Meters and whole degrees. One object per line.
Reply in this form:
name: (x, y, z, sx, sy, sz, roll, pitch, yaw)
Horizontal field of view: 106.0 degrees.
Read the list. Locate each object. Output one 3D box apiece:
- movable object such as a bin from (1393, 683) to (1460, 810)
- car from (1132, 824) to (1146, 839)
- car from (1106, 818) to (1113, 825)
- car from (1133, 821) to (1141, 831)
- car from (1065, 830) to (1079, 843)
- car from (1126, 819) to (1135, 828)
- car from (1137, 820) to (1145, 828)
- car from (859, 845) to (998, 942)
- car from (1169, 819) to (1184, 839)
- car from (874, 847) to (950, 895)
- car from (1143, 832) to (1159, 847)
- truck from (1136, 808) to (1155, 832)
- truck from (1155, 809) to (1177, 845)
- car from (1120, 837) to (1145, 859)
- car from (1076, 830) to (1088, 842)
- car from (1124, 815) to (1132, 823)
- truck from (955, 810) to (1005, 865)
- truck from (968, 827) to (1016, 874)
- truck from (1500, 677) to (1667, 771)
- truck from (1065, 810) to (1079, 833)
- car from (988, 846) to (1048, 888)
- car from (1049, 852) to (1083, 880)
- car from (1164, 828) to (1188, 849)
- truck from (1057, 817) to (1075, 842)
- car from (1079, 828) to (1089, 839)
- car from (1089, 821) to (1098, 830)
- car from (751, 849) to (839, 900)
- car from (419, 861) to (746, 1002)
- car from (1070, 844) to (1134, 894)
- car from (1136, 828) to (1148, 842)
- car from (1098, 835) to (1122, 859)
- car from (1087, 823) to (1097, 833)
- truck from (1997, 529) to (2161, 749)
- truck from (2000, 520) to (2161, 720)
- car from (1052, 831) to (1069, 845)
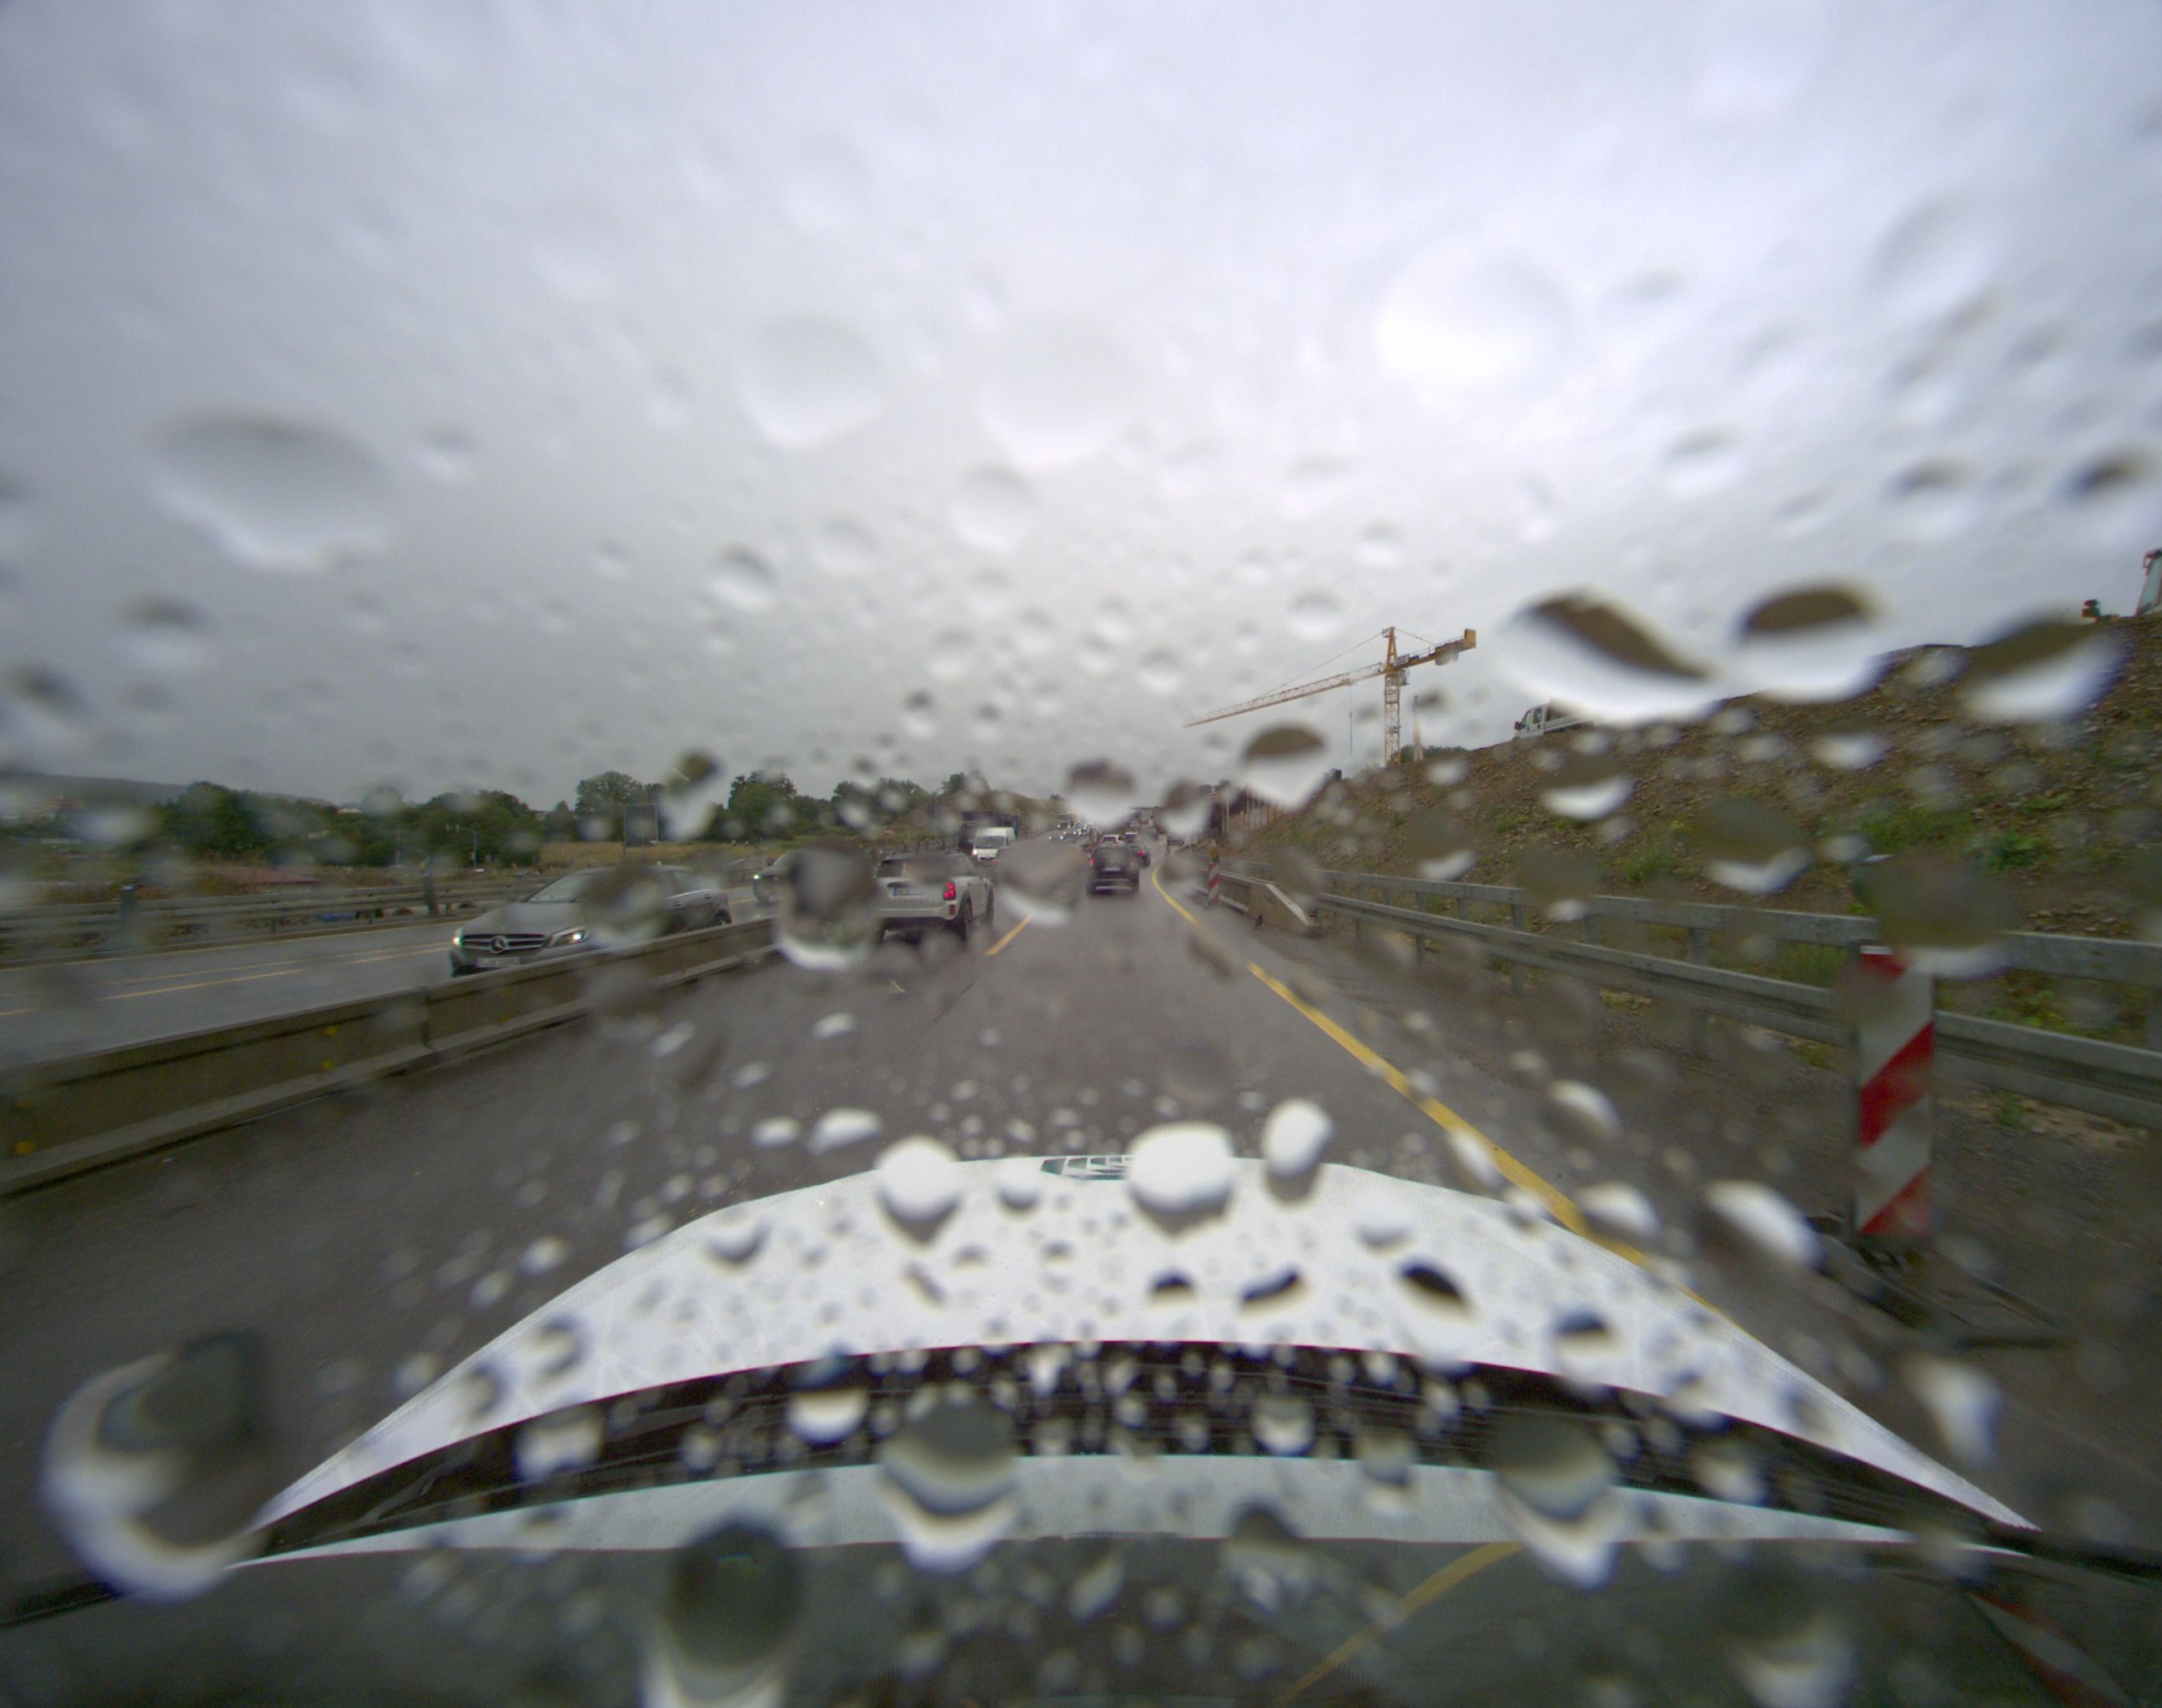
movable object such as a bin: (33.966, -10.233, 80.690, 4.682, 10.843, 10.346, -1, -1, 16)
car: (9.439, -3.623, 131.450, 1.983, 2.163, 4.148, -1, -1, 7)
car: (8.777, -9.871, 248.849, 1.986, 2.014, 4.000, -1, -1, 1)
car: (12.460, -6.181, 181.431, 1.842, 1.894, 4.023, -1, -1, 3)
car: (-1.321, -2.549, 119.194, 1.779, 1.810, 4.501, -1, -1, 2)
car: (12.007, -7.529, 199.356, 1.986, 2.013, 4.002, -2, 0, 1)
car: (17.459, -8.738, 236.012, 1.986, 2.014, 4.000, -1, -1, 1)
car: (-2.778, 0.682, 15.827, 1.810, 1.600, 4.308, -1, -1, 1)
car: (13.405, -3.510, 114.978, 1.984, 2.484, 4.989, -1, -1, 5)
car: (-5.952, 0.551, 29.104, 1.670, 1.524, 4.346, -1, 0, 1)
car: (9.149, -1.923, 106.340, 1.985, 1.761, 3.817, -1, -1, 3)
truck: (15.622, -8.119, 196.913, 3.790, 5.043, 12.922, -1, -1, 1)
truck: (14.435, -4.466, 137.322, 3.083, 5.426, 9.467, -1, -1, 9)
car: (5.462, -0.610, 86.157, 1.980, 2.163, 4.155, -1, -1, 13)
car: (0.129, -2.964, 133.141, 1.779, 1.810, 4.501, -1, -1, 2)
car: (12.891, -9.535, 224.698, 1.986, 2.013, 4.002, -2, 0, 1)
truck: (-7.818, -1.323, 64.266, 2.632, 3.970, 9.215, -1, 1, 1)
truck: (-5.346, -0.220, 49.924, 2.140, 2.713, 6.017, -1, 0, 1)
truck: (20.351, -5.160, 33.545, 2.636, 2.555, 6.985, -1, -1, 1)
truck: (-2.166, -7.984, 199.508, 3.129, 5.417, 8.529, 0, 1, 3)
car: (-2.534, 0.541, 33.716, 1.986, 1.600, 4.142, -1, -1, 2)
car: (-0.903, 0.750, 50.477, 1.987, 1.600, 4.140, -1, -1, 0)
car: (10.651, -1.697, 91.122, 1.978, 2.163, 4.157, -1, -1, 16)
truck: (-2.938, -4.961, 165.816, 3.070, 4.919, 8.570, 0, 1, 3)
car: (0.614, -3.823, 153.270, 1.616, 1.810, 3.639, -1, -1, 3)
car: (3.412, -7.879, 226.207, 2.208, 2.370, 4.667, 0, 1, 3)
car: (-9.286, 0.621, 26.721, 1.722, 1.524, 3.870, -1, 0, -4)
car: (-6.505, 0.893, 11.334, 1.780, 1.538, 4.313, -1, 0, 2)
car: (0.769, 0.529, 28.462, 2.073, 1.600, 4.142, -1, -1, 2)
car: (10.713, -3.281, 142.985, 1.985, 2.163, 4.143, -1, -1, 3)
car: (2.541, -0.652, 71.704, 1.986, 2.013, 3.895, -1, 1, 1)
car: (2.842, -6.755, 211.870, 2.229, 2.358, 4.880, 0, 1, 3)
truck: (24.270, -4.838, 17.515, 2.365, 4.218, 5.980, -1, -1, 1)
truck: (19.604, -4.199, 11.517, 3.381, 2.875, 8.967, -1, -1, 4)
car: (-2.481, -1.968, 99.235, 1.731, 1.684, 5.555, 0, 1, 2)
